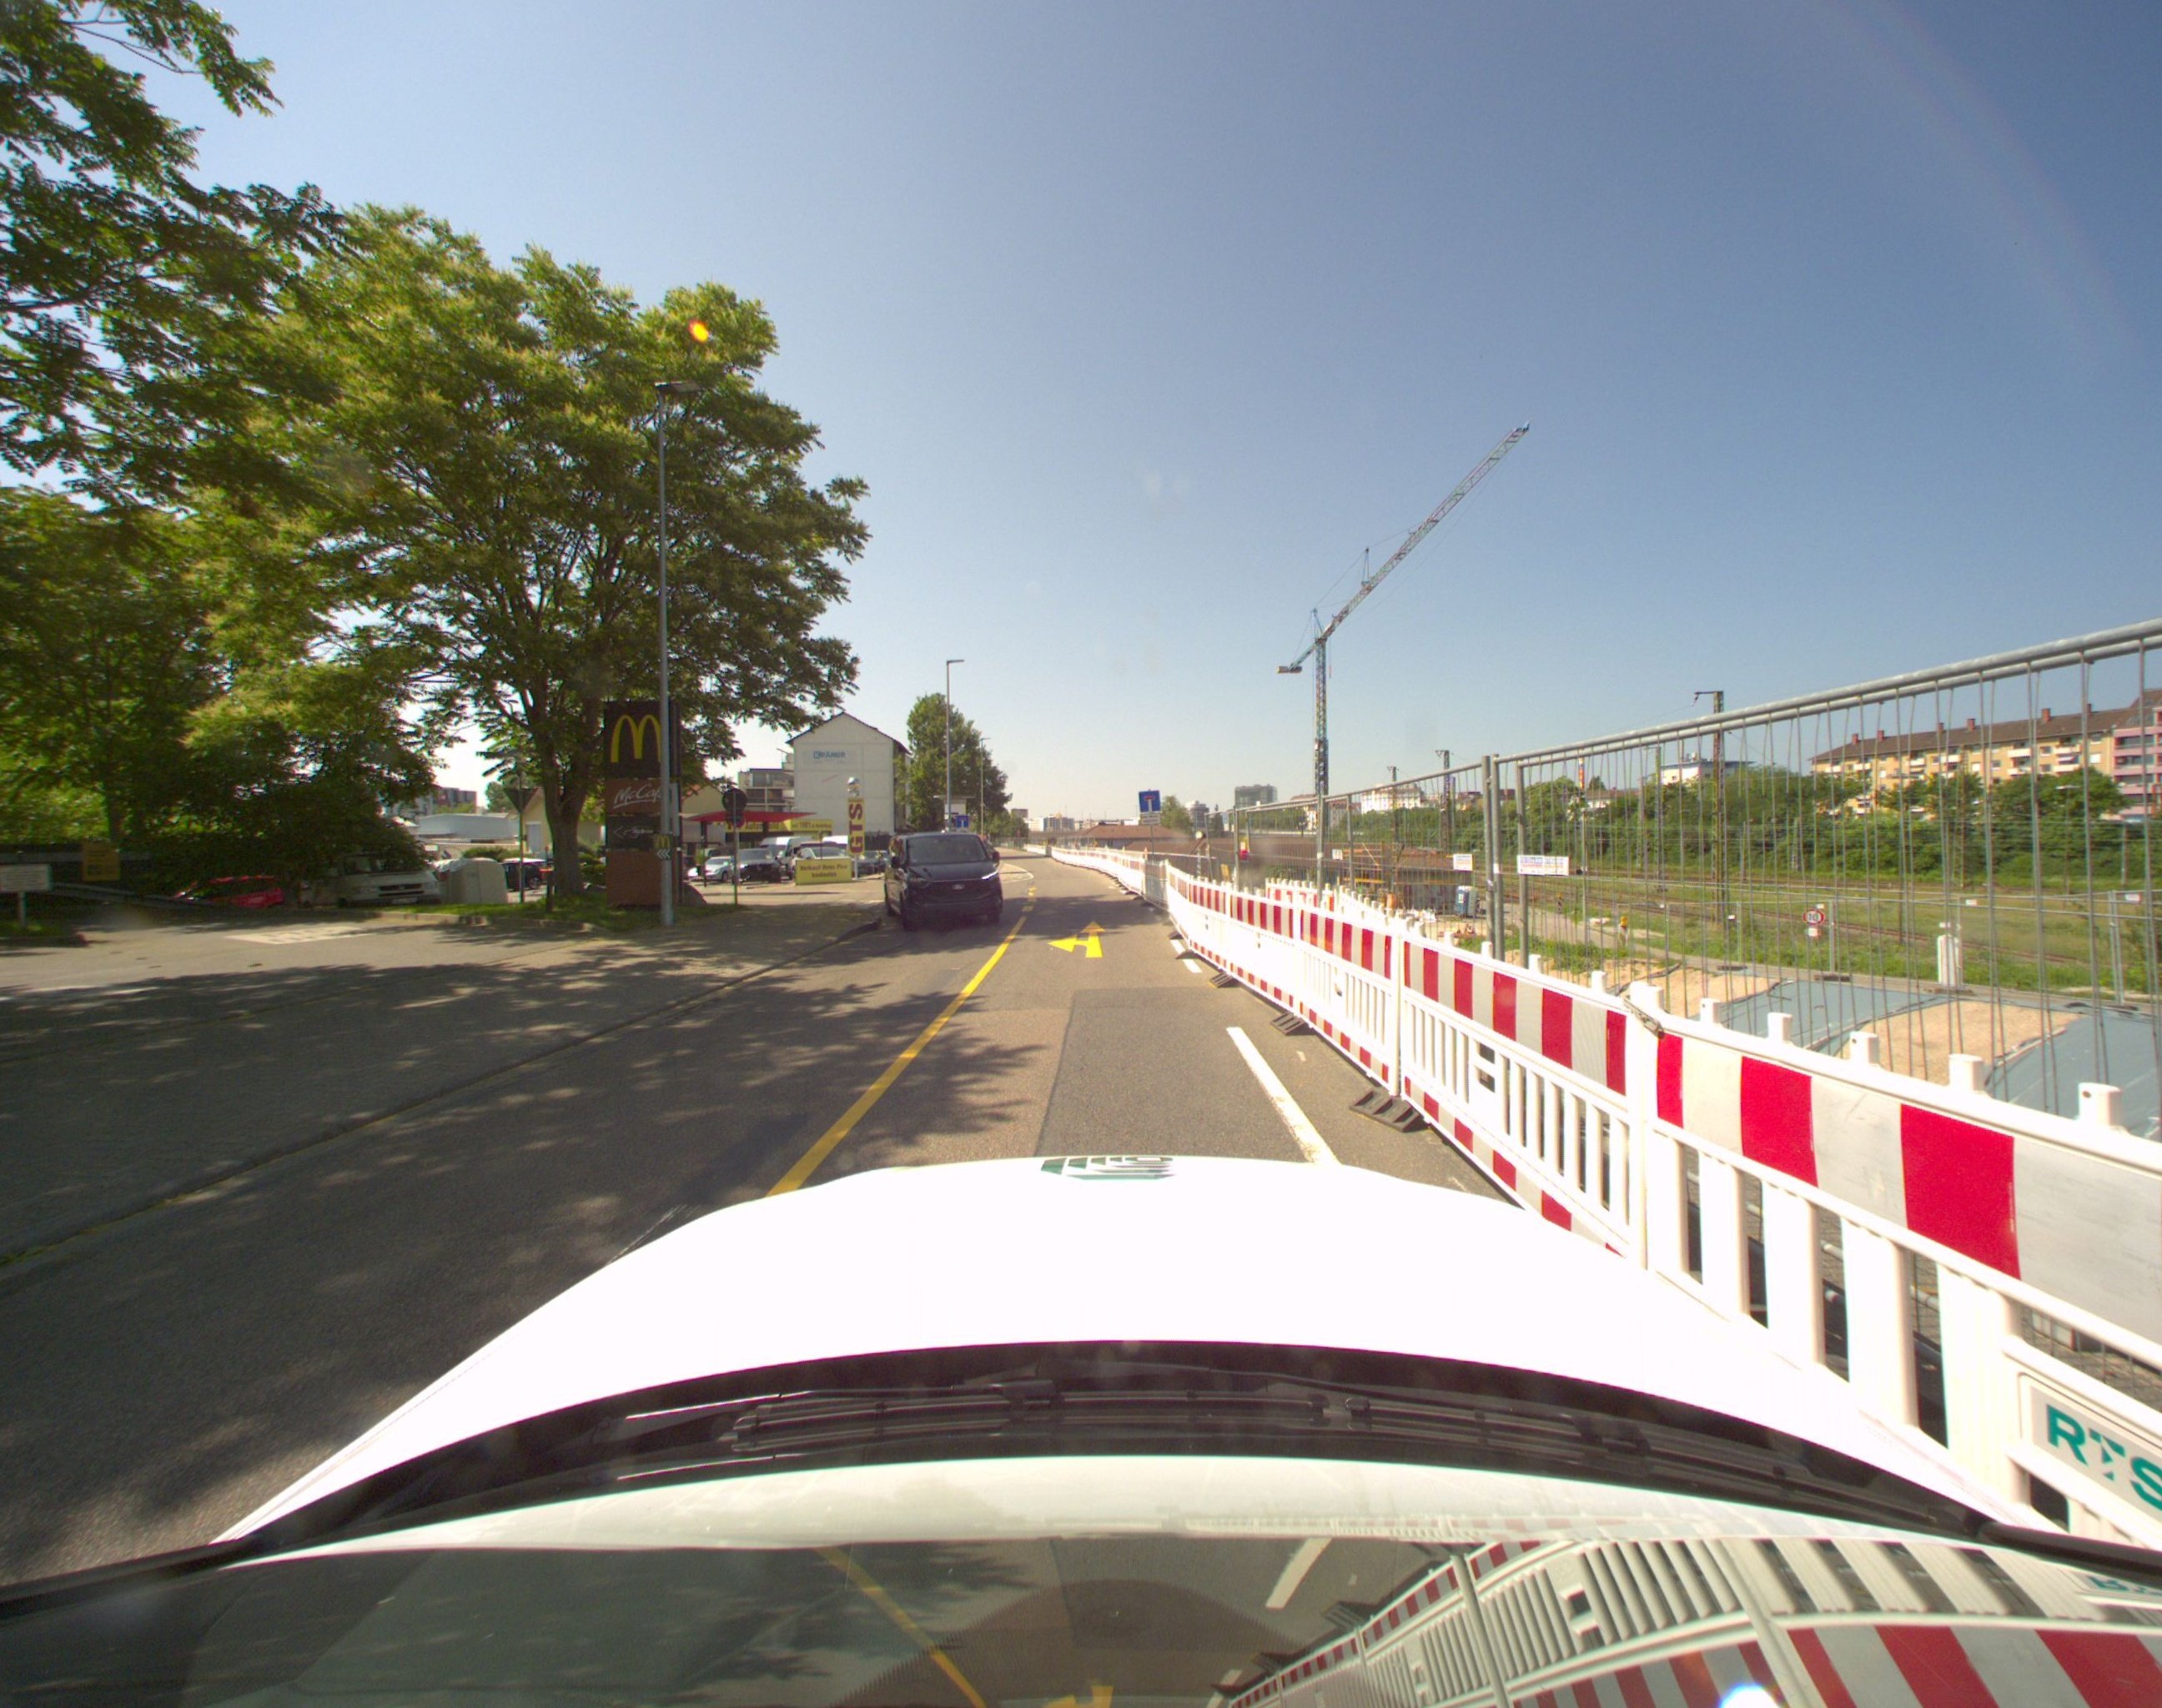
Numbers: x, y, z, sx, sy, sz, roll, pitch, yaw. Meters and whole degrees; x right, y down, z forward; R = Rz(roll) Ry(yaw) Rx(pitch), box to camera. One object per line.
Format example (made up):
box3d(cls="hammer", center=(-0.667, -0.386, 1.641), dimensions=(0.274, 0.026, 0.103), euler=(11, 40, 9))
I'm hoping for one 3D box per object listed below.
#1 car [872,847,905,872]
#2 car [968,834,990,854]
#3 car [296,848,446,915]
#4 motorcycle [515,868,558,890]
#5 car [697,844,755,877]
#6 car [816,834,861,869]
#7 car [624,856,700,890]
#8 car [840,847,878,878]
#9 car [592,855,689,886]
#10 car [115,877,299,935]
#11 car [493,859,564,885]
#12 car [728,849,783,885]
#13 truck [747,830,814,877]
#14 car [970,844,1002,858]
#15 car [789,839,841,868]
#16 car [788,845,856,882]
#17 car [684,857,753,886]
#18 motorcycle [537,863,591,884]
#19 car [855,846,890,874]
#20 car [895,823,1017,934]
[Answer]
box3d(cls="car", center=(-13.372, 0.351, 56.362), dimensions=(1.862, 1.629, 3.976), euler=(-1, 1, -18))
box3d(cls="car", center=(-13.461, -1.293, 108.051), dimensions=(2.532, 2.520, 5.112), euler=(0, 0, -3))
box3d(cls="car", center=(-19.008, 0.653, 21.741), dimensions=(4.966, 1.583, 1.970), euler=(1, 0, 36))
box3d(cls="motorcycle", center=(-30.370, 1.396, 45.447), dimensions=(0.779, 1.158, 1.886), euler=(-1, 0, 37))
box3d(cls="car", center=(-22.924, 0.414, 52.828), dimensions=(1.989, 2.013, 4.490), euler=(0, 0, -3))
box3d(cls="car", center=(-16.990, -0.199, 57.306), dimensions=(2.132, 2.284, 4.703), euler=(-1, 1, -5))
box3d(cls="car", center=(-19.924, 0.860, 38.927), dimensions=(1.785, 1.510, 3.993), euler=(0, 0, -5))
box3d(cls="car", center=(-12.389, 0.422, 45.353), dimensions=(1.862, 1.629, 3.976), euler=(-1, 1, -18))
box3d(cls="car", center=(-23.943, 0.851, 44.347), dimensions=(4.358, 1.585, 1.976), euler=(0, 0, -42))
box3d(cls="car", center=(-26.020, 1.493, 24.370), dimensions=(1.468, 1.378, 3.436), euler=(1, 2, 27))
box3d(cls="car", center=(-34.439, 1.108, 50.758), dimensions=(3.950, 1.585, 2.012), euler=(0, 0, 27))
box3d(cls="car", center=(-15.420, 0.581, 38.450), dimensions=(2.057, 1.594, 4.385), euler=(0, 0, -26))
box3d(cls="truck", center=(-19.655, -0.026, 53.651), dimensions=(2.262, 2.903, 5.941), euler=(0, 0, -1))
box3d(cls="car", center=(-10.989, -0.344, 94.239), dimensions=(3.300, 1.637, 1.705), euler=(0, 0, -45))
box3d(cls="car", center=(-16.672, -0.046, 51.277), dimensions=(1.873, 1.738, 4.718), euler=(0, 0, -2))
box3d(cls="car", center=(-12.934, 0.464, 40.516), dimensions=(2.010, 1.725, 3.954), euler=(0, 0, -38))
box3d(cls="car", center=(-19.876, 0.943, 44.819), dimensions=(1.780, 1.487, 4.005), euler=(0, 0, 5))
box3d(cls="motorcycle", center=(-31.032, 1.160, 48.908), dimensions=(0.988, 1.227, 2.731), euler=(0, 0, 18))
box3d(cls="car", center=(-13.054, 0.339, 50.775), dimensions=(1.862, 1.629, 3.976), euler=(-1, 1, -18))
box3d(cls="car", center=(-2.959, 0.414, 18.240), dimensions=(2.179, 1.967, 5.421), euler=(-4, 2, -13))
